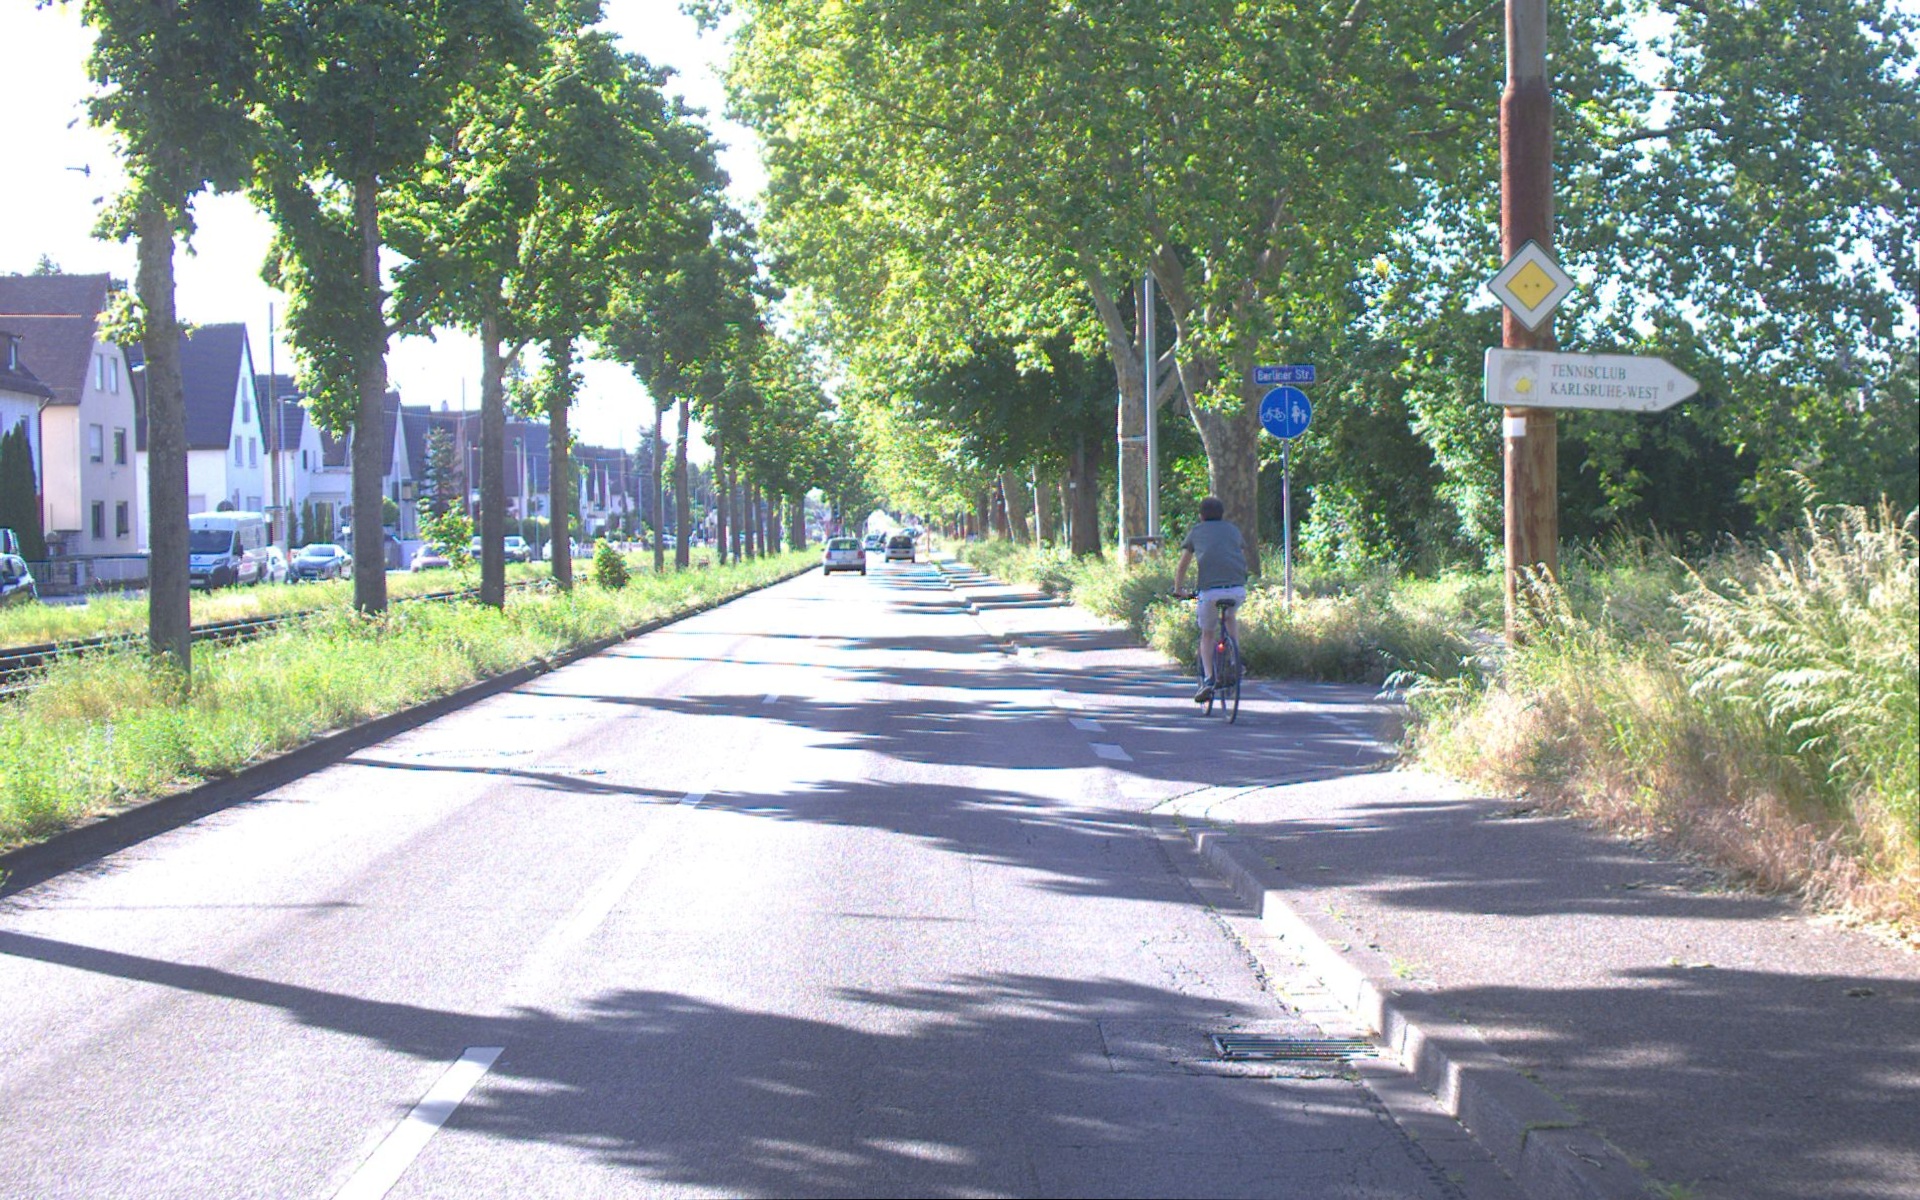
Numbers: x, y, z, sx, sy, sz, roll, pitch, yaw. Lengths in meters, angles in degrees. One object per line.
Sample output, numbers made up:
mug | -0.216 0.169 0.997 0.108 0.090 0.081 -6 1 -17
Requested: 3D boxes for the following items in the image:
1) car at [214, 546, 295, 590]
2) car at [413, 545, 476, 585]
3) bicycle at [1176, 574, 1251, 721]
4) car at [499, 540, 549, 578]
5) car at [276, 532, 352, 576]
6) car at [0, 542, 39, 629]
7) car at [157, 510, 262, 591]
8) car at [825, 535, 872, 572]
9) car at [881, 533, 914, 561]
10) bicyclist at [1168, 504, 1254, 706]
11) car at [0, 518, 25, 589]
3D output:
car | -23.449 -1.072 114.382 1.824 1.407 4.658 1 0 -1
car | -18.509 -1.262 123.561 1.676 1.405 4.000 -1 1 -1
bicycle | 2.076 0.374 28.294 0.440 1.149 1.823 -1 1 -1
car | -21.583 -2.017 170.265 1.915 1.876 4.524 1 0 0
car | -24.033 -1.716 128.058 1.993 1.576 4.498 1 1 0
car | -17.978 -0.252 61.441 1.993 1.526 3.751 -1 1 0
car | -23.639 -1.539 108.509 1.993 2.451 6.675 1 0 -1
car | -4.234 -1.769 131.075 1.738 1.396 3.277 1 0 -1
car | -3.474 -2.947 190.921 1.761 1.508 3.277 1 0 0
bicyclist | 2.056 0.033 28.241 0.613 1.623 0.909 -1 1 -1
car | -28.330 -1.281 95.077 4.616 1.939 2.001 0 1 -11
